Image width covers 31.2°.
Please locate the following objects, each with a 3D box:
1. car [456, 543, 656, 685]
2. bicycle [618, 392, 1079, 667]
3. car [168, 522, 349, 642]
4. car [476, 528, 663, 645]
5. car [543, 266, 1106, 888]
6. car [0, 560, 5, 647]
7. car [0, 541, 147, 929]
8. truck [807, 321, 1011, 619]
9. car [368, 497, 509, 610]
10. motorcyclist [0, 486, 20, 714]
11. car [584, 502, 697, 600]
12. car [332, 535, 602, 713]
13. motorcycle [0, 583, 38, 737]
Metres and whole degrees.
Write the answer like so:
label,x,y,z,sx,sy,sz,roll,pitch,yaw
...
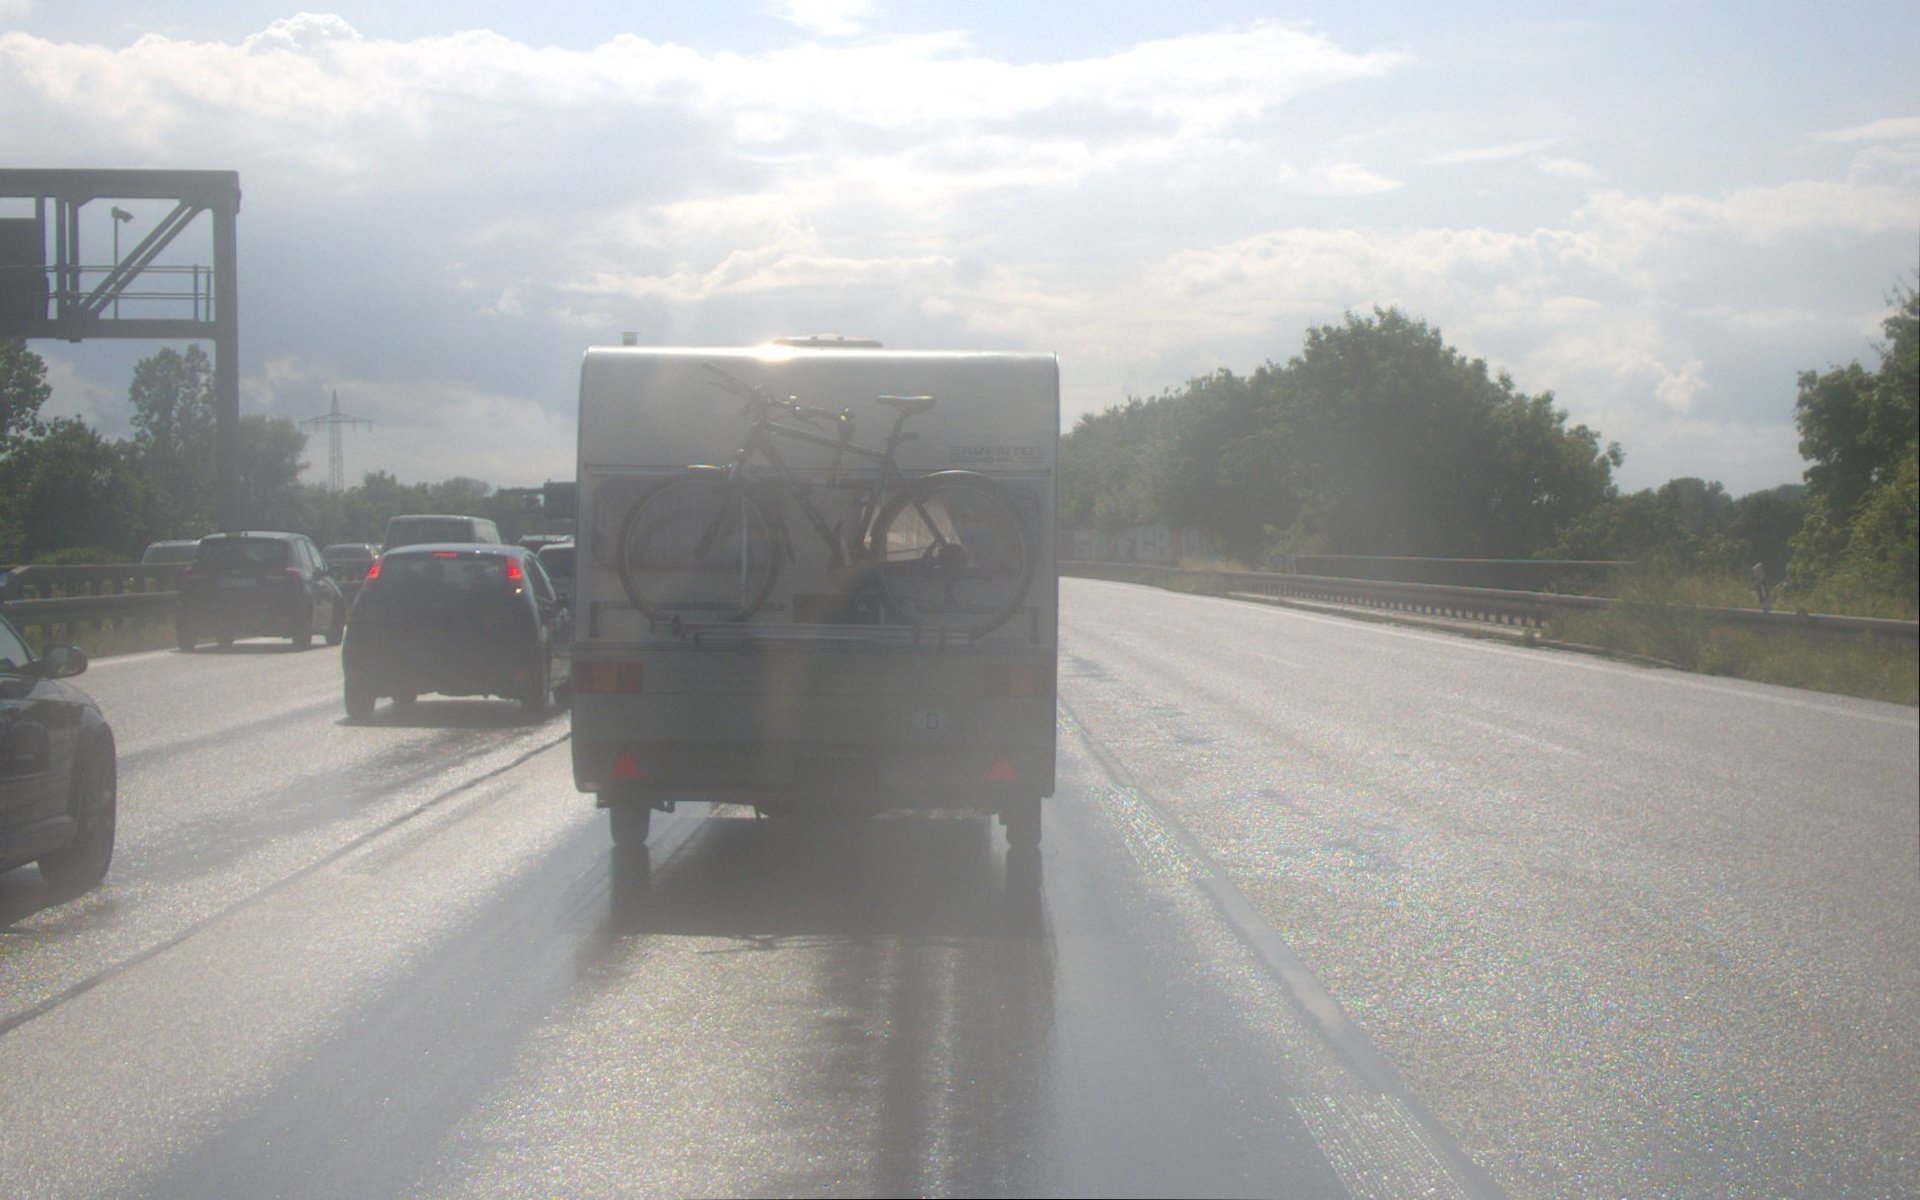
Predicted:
label,x,y,z,sx,sy,sz,roll,pitch,yaw
car,-4.492,0.112,38.703,1.863,1.503,4.000,0,1,-1
bicycle,-0.467,-0.300,14.682,1.934,1.137,0.384,1,1,1
car,-9.625,-0.278,47.413,1.783,1.573,3.916,0,1,-1
car,-5.076,-0.210,45.102,1.987,1.453,3.826,0,1,0
car,-0.573,-0.129,16.895,2.410,2.665,4.000,1,1,0
car,-16.772,0.091,55.342,1.776,1.437,4.000,0,1,-1
car,-4.444,0.496,13.128,1.750,1.428,4.054,0,1,-1
truck,-0.916,-2.115,58.847,3.146,4.610,10.737,0,1,-1
car,-9.329,-0.853,61.840,1.848,1.927,5.017,0,1,-1
motorcyclist,-6.842,0.002,23.035,0.796,1.532,1.093,0,1,-1
car,-5.569,-0.863,60.260,1.689,1.656,3.641,0,1,-1
car,-4.240,0.161,30.096,1.758,1.438,4.000,0,1,0
motorcycle,-6.845,0.418,23.069,0.690,1.024,2.388,0,1,-1
